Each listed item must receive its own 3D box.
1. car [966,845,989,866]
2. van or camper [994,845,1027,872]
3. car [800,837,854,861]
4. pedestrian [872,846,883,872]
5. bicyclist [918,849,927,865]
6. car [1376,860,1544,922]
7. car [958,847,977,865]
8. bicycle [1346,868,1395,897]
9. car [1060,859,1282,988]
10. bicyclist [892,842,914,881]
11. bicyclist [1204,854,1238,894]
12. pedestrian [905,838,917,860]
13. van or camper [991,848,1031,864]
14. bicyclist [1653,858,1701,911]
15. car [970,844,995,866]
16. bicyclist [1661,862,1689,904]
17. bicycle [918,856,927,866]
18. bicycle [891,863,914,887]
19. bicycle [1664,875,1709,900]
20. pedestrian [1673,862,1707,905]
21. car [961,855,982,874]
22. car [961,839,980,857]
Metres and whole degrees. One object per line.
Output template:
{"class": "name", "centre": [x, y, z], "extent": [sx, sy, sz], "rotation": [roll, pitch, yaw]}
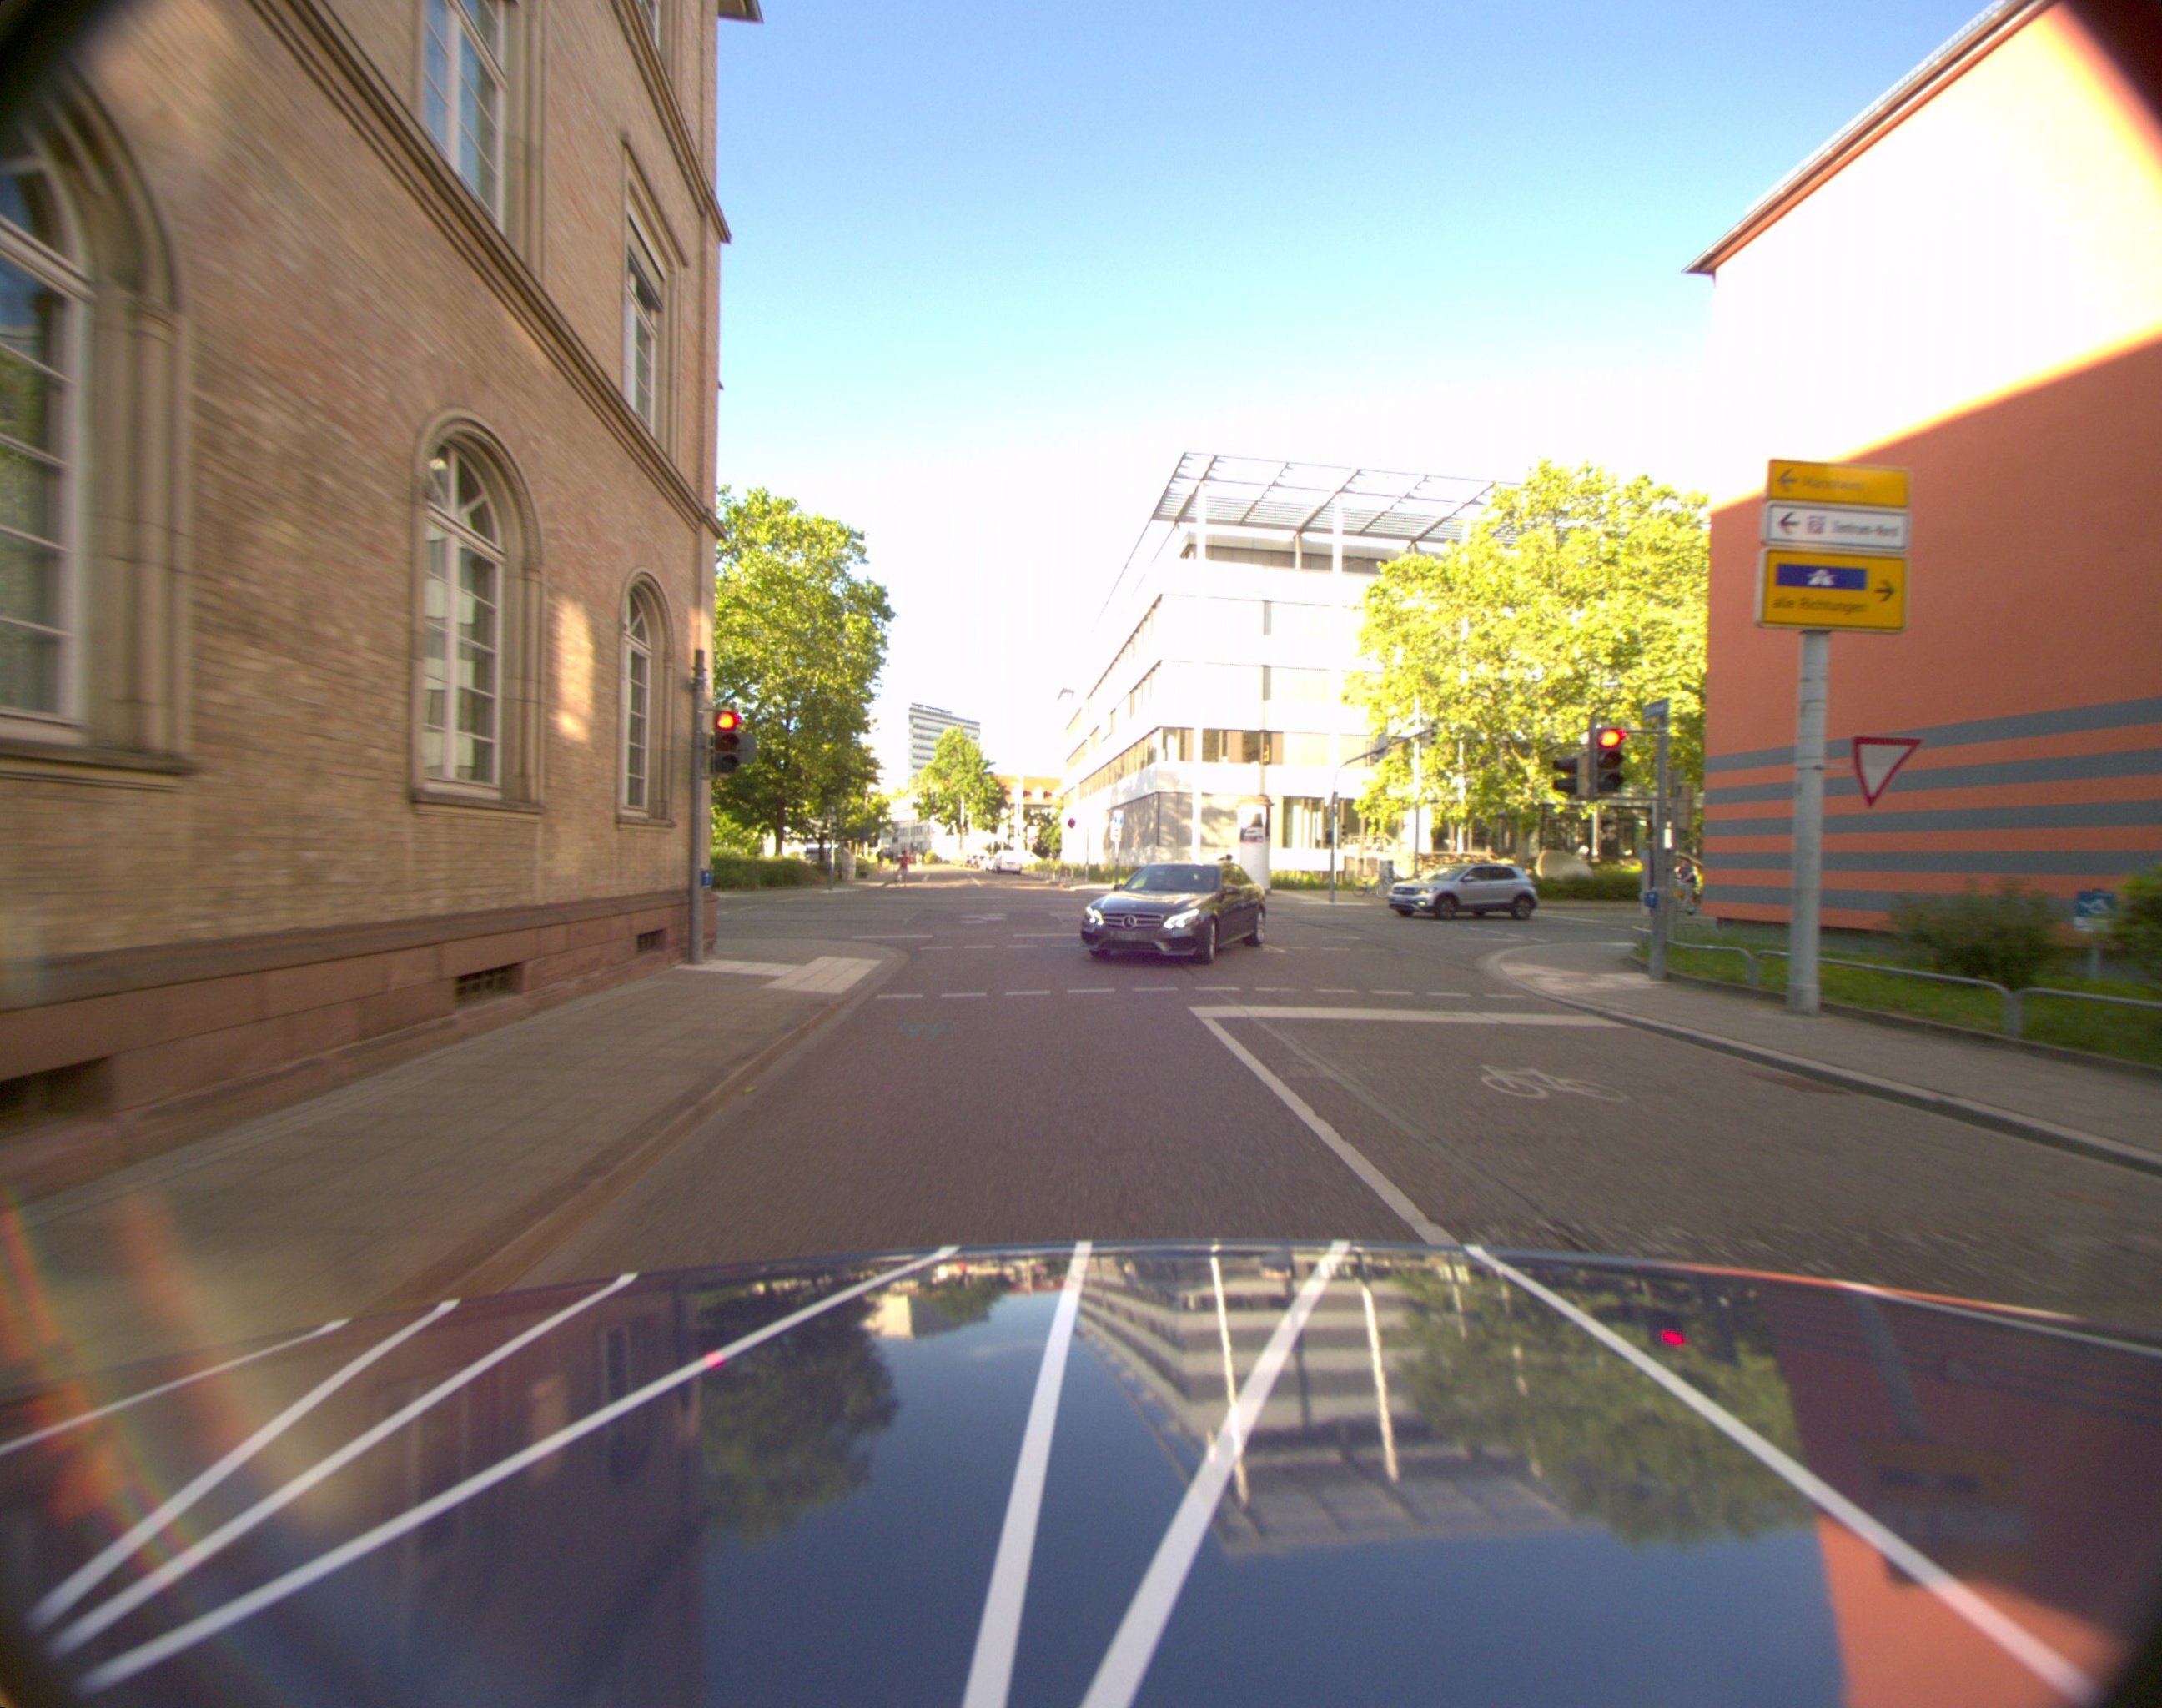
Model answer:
{"class": "car", "centre": [-10.323, 0.183, 75.294], "extent": [2.001, 2.002, 3.996], "rotation": [0, 0, -11]}
{"class": "van or camper", "centre": [-5.686, 0.334, 60.980], "extent": [2.163, 2.002, 4.971], "rotation": [1, 0, -10]}
{"class": "car", "centre": [-23.435, -0.463, 70.297], "extent": [4.569, 2.101, 1.997], "rotation": [0, 0, -15]}
{"class": "pedestrian", "centre": [-14.296, 0.339, 53.422], "extent": [0.668, 1.844, 1.024], "rotation": [0, 0, -20]}
{"class": "bicyclist", "centre": [-15.446, 0.274, 74.073], "extent": [0.762, 1.583, 0.900], "rotation": [0, 0, -14]}
{"class": "car", "centre": [10.559, 1.003, 21.244], "extent": [4.002, 1.594, 1.746], "rotation": [1, 0, -14]}
{"class": "car", "centre": [-13.643, 0.265, 91.303], "extent": [2.001, 2.001, 3.997], "rotation": [0, -1, -11]}
{"class": "bicycle", "centre": [12.343, 1.197, 32.413], "extent": [0.471, 1.175, 1.987], "rotation": [-1, 1, -38]}
{"class": "car", "centre": [1.664, 0.903, 12.155], "extent": [1.795, 1.460, 4.727], "rotation": [2, 2, 30]}
{"class": "bicyclist", "centre": [-8.473, 0.360, 36.259], "extent": [0.978, 1.797, 1.130], "rotation": [0, 0, -11]}
{"class": "bicyclist", "centre": [5.729, 0.802, 31.130], "extent": [1.123, 1.537, 0.955], "rotation": [3, 1, 23]}
{"class": "pedestrian", "centre": [-26.007, -0.729, 116.417], "extent": [1.462, 3.289, 1.403], "rotation": [0, 0, -28]}
{"class": "van or camper", "centre": [-9.058, 0.251, 98.081], "extent": [4.737, 2.074, 1.996], "rotation": [0, 0, -21]}
{"class": "bicyclist", "centre": [19.599, 1.016, 24.989], "extent": [0.901, 1.721, 0.770], "rotation": [0, -4, -9]}
{"class": "car", "centre": [-9.199, 0.094, 70.736], "extent": [2.001, 2.002, 3.996], "rotation": [0, 0, -11]}
{"class": "bicyclist", "centre": [24.928, 1.224, 31.880], "extent": [0.655, 1.704, 0.634], "rotation": [-1, 2, -9]}
{"class": "bicycle", "centre": [-15.434, 0.645, 74.030], "extent": [0.762, 0.944, 3.054], "rotation": [0, 0, -14]}
{"class": "bicycle", "centre": [-8.528, 0.989, 36.426], "extent": [0.943, 1.032, 3.003], "rotation": [0, 0, -11]}
{"class": "bicycle", "centre": [25.520, 1.415, 32.026], "extent": [1.647, 1.028, 0.522], "rotation": [0, 0, -9]}
{"class": "pedestrian", "centre": [24.853, 1.187, 31.011], "extent": [0.692, 1.709, 0.775], "rotation": [-1, 2, -9]}
{"class": "car", "centre": [-11.713, 1.075, 81.014], "extent": [2.001, 2.002, 3.996], "rotation": [0, 0, -11]}
{"class": "car", "centre": [-12.671, -0.686, 86.933], "extent": [2.001, 2.002, 3.996], "rotation": [0, 0, -11]}
